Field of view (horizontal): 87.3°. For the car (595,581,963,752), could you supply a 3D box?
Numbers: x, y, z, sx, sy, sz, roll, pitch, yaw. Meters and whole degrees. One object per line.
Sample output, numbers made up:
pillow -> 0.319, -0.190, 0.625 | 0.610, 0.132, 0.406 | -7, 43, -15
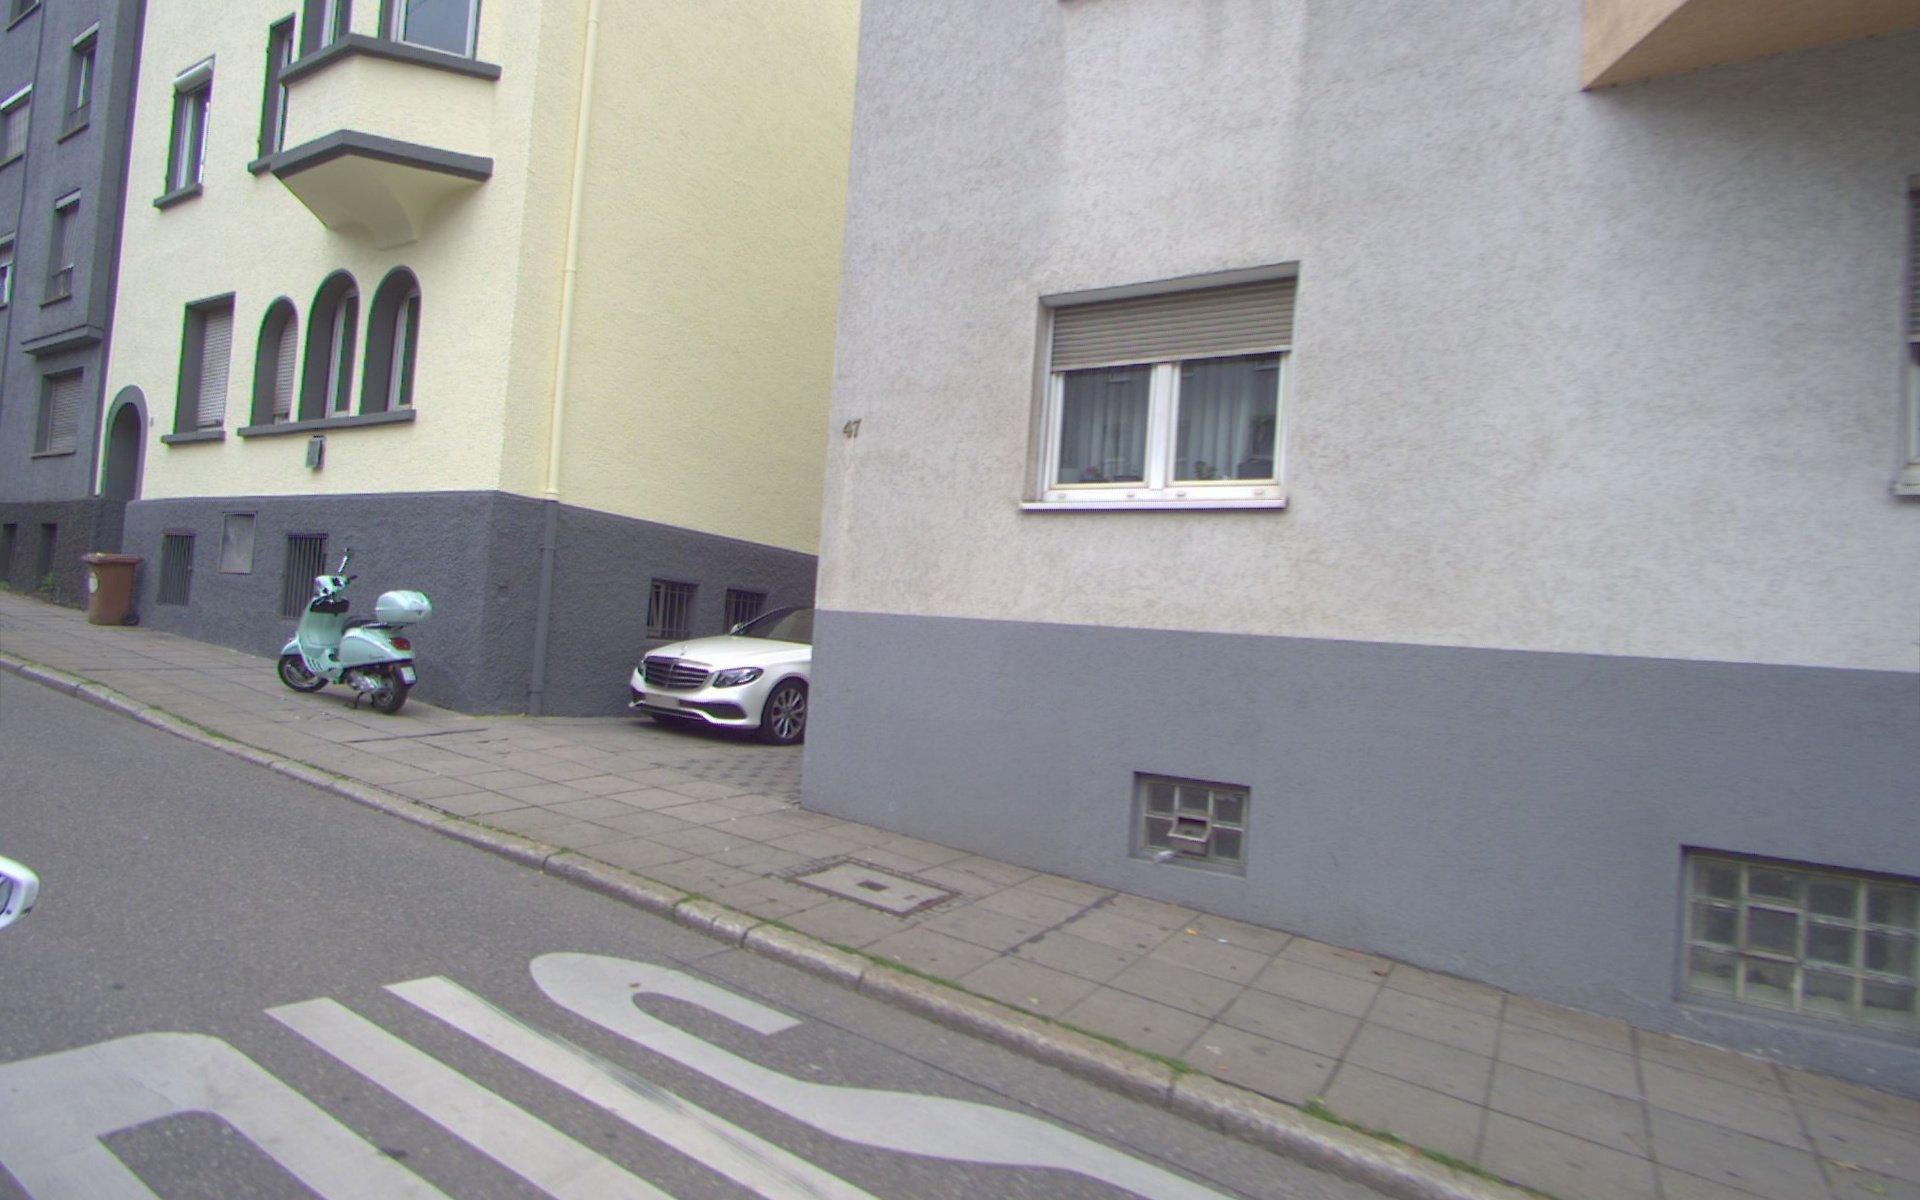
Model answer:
car -> -1.853, 0.737, 11.514 | 1.854, 1.441, 3.991 | 6, 0, 32

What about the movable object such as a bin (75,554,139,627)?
movable object such as a bin -> -11.276, -0.123, 13.307 | 0.508, 0.904, 0.475 | 6, 2, 31

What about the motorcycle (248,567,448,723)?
motorcycle -> -5.764, 0.380, 9.416 | 2.188, 1.171, 0.538 | 6, 2, 29
